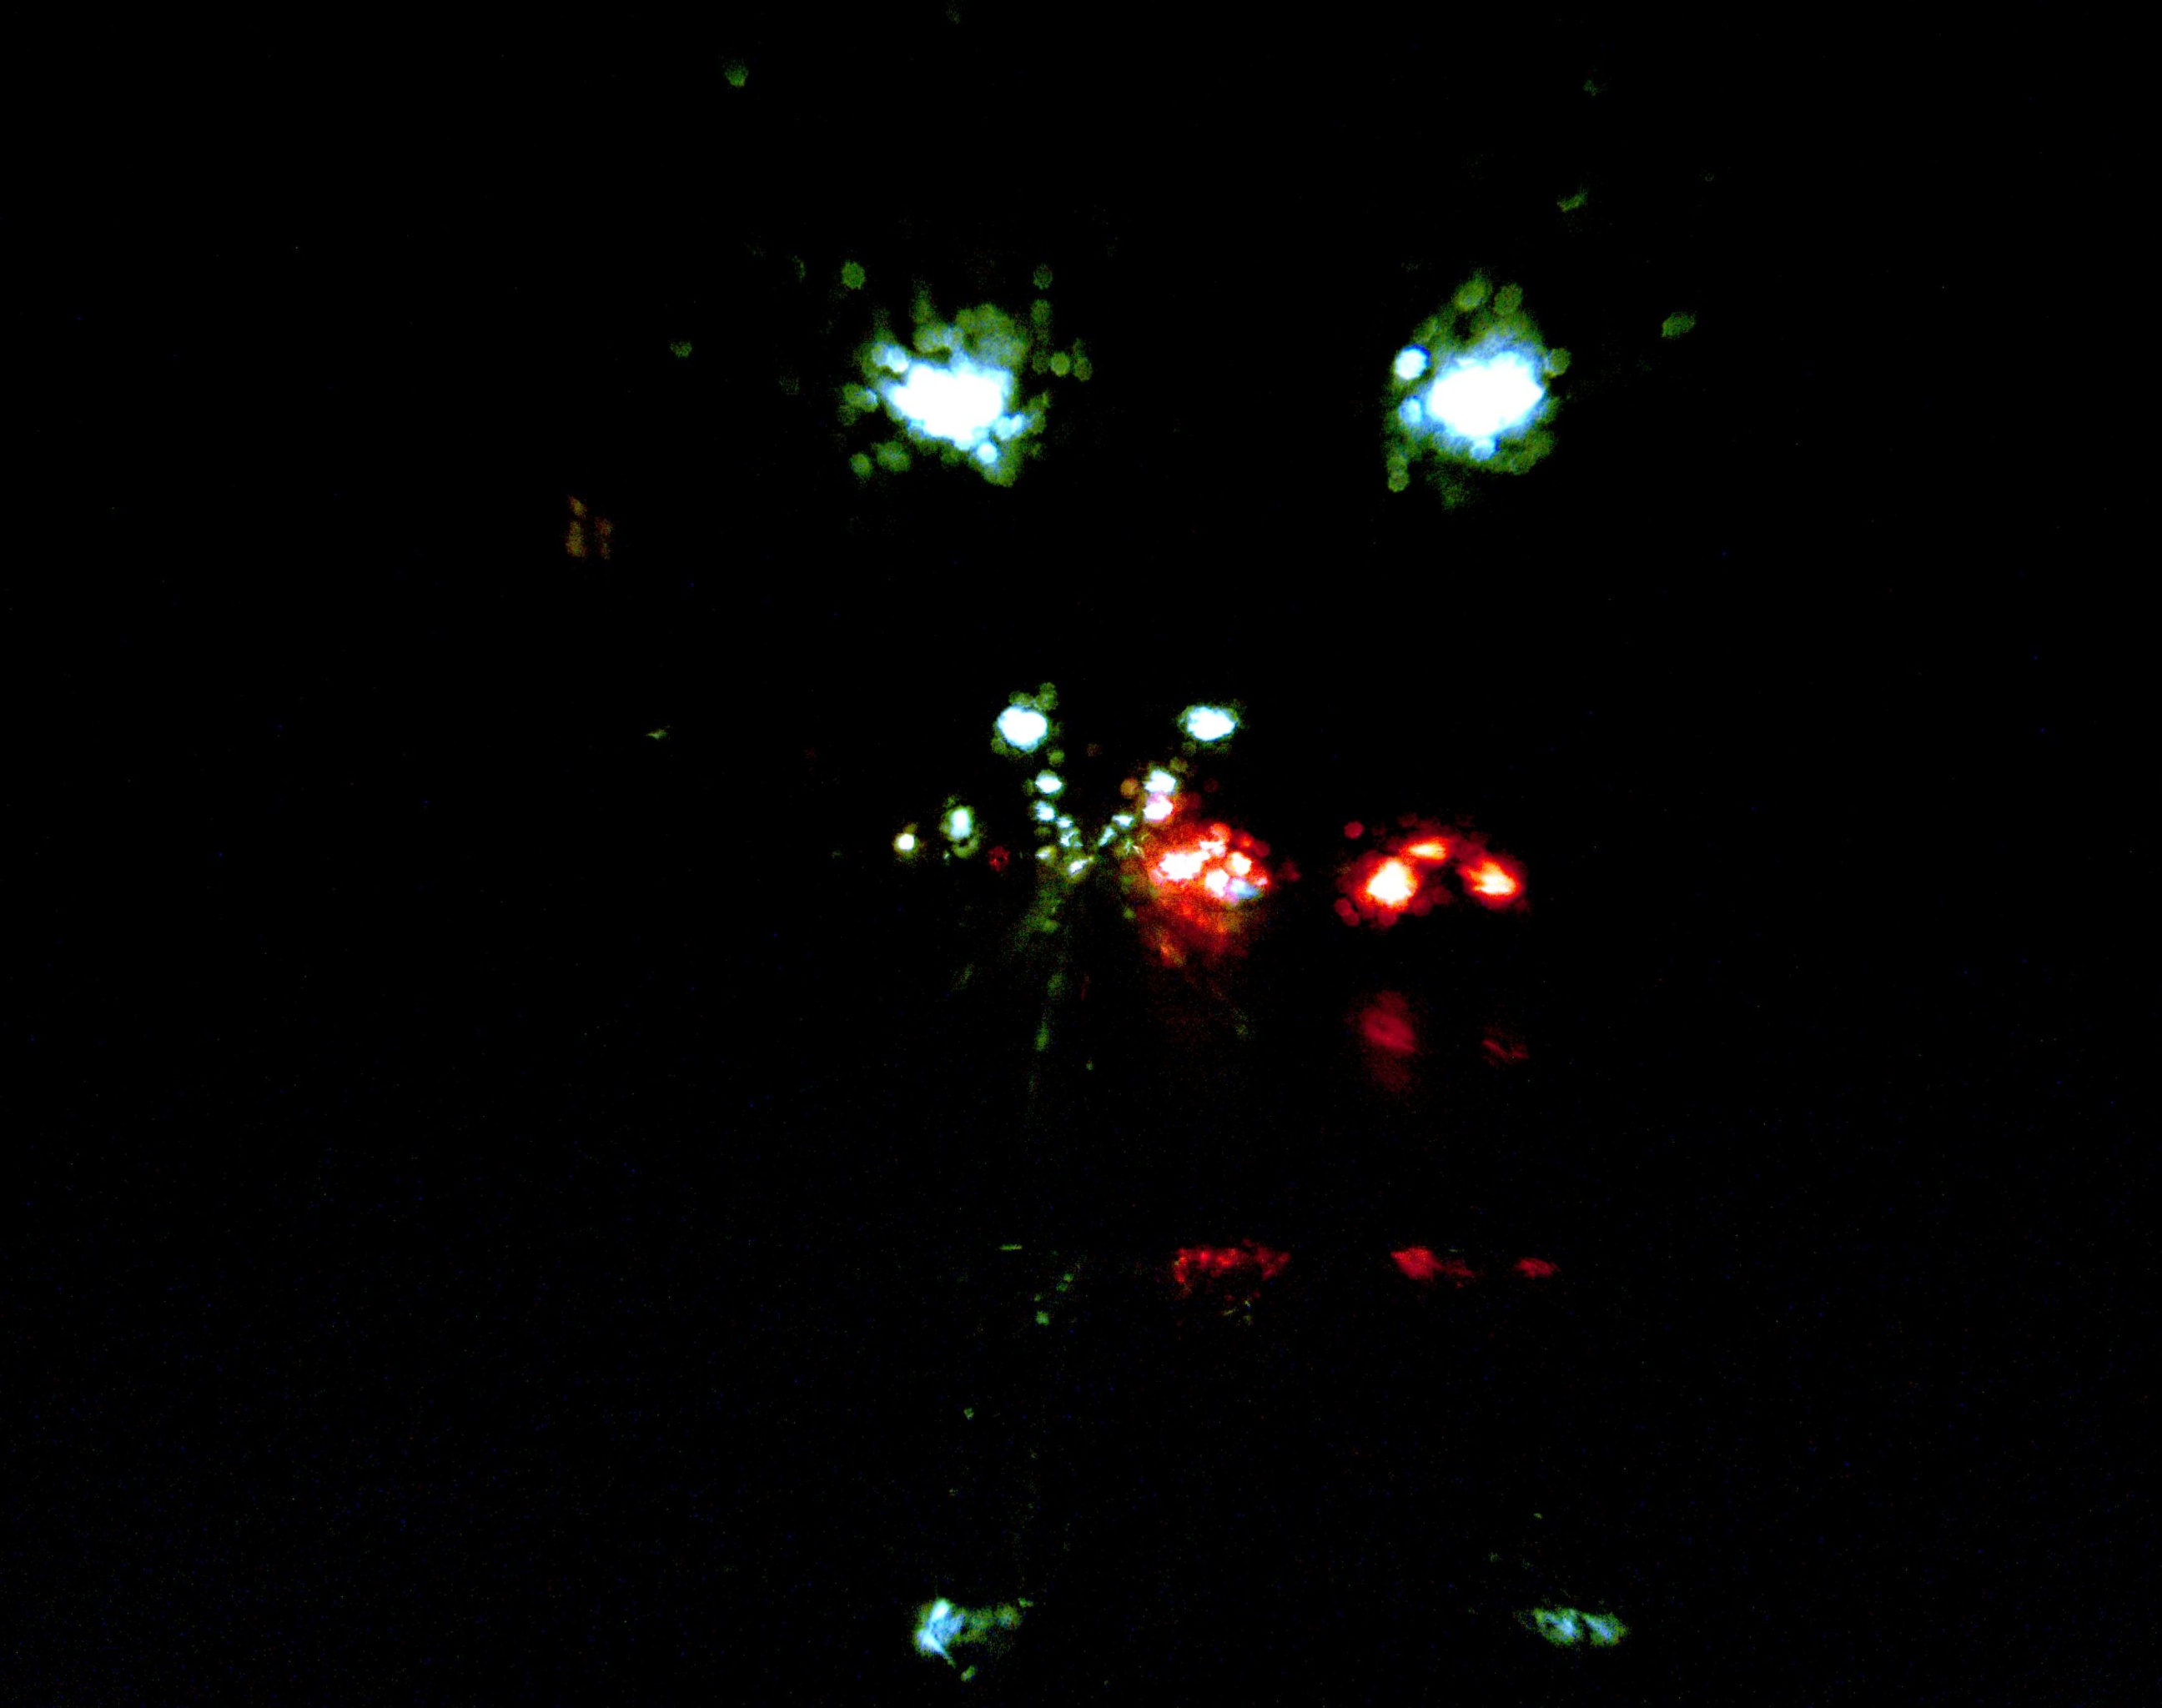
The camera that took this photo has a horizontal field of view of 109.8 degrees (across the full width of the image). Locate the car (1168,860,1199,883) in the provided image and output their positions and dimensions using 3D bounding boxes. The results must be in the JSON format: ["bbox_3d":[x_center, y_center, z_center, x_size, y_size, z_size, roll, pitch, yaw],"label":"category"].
[{"bbox_3d":[6.804,1.148,50.601,1.796,1.456,3.903,-1,0,5],"label":"car"}]

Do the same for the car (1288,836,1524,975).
[{"bbox_3d":[4.821,0.681,12.078,1.943,1.805,4.385,0,0,1],"label":"car"}]

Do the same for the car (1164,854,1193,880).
[{"bbox_3d":[7.334,0.965,57.643,1.899,1.858,4.537,0,0,3],"label":"car"}]

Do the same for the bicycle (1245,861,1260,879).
[{"bbox_3d":[11.733,1.108,51.981,0.656,1.135,1.898,-4,1,3],"label":"bicycle"}]

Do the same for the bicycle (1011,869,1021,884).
[{"bbox_3d":[-4.894,1.688,57.014,0.572,0.964,1.780,-3,1,-1],"label":"bicycle"}]

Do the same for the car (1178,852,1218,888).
[{"bbox_3d":[6.393,0.853,42.039,1.930,1.868,4.640,0,0,6],"label":"car"}]

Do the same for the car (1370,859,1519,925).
[{"bbox_3d":[9.308,0.907,19.867,1.770,1.398,4.140,-4,0,-2],"label":"car"}]

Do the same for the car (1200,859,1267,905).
[{"bbox_3d":[5.286,0.926,26.857,1.655,1.470,4.206,0,0,2],"label":"car"}]

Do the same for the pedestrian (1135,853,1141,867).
[{"bbox_3d":[7.226,0.750,96.533,0.716,1.764,0.671,-4,1,3],"label":"pedestrian"}]

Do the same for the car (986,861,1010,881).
[{"bbox_3d":[-6.695,1.340,61.562,1.652,1.516,3.579,3,0,-3],"label":"car"}]

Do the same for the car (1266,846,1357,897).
[{"bbox_3d":[9.396,0.694,31.460,1.999,1.815,5.309,-4,-1,0],"label":"car"}]

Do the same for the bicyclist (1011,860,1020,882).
[{"bbox_3d":[-4.910,1.274,56.884,0.572,1.539,0.816,-3,1,-1],"label":"bicyclist"}]

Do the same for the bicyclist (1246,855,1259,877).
[{"bbox_3d":[11.715,0.826,51.940,0.656,1.457,0.868,-4,1,3],"label":"bicyclist"}]

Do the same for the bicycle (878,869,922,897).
[{"bbox_3d":[-7.987,1.275,33.522,1.818,1.157,0.492,1,1,-2],"label":"bicycle"}]

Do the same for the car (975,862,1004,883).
[{"bbox_3d":[-6.703,1.322,56.046,1.649,1.433,4.055,3,0,-1],"label":"car"}]

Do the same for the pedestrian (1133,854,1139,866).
[{"bbox_3d":[7.198,0.775,99.708,0.401,1.620,0.531,-5,2,-43],"label":"pedestrian"}]

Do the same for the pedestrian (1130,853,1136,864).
[{"bbox_3d":[7.066,0.630,102.682,0.512,1.539,0.574,-4,1,-17],"label":"pedestrian"}]
